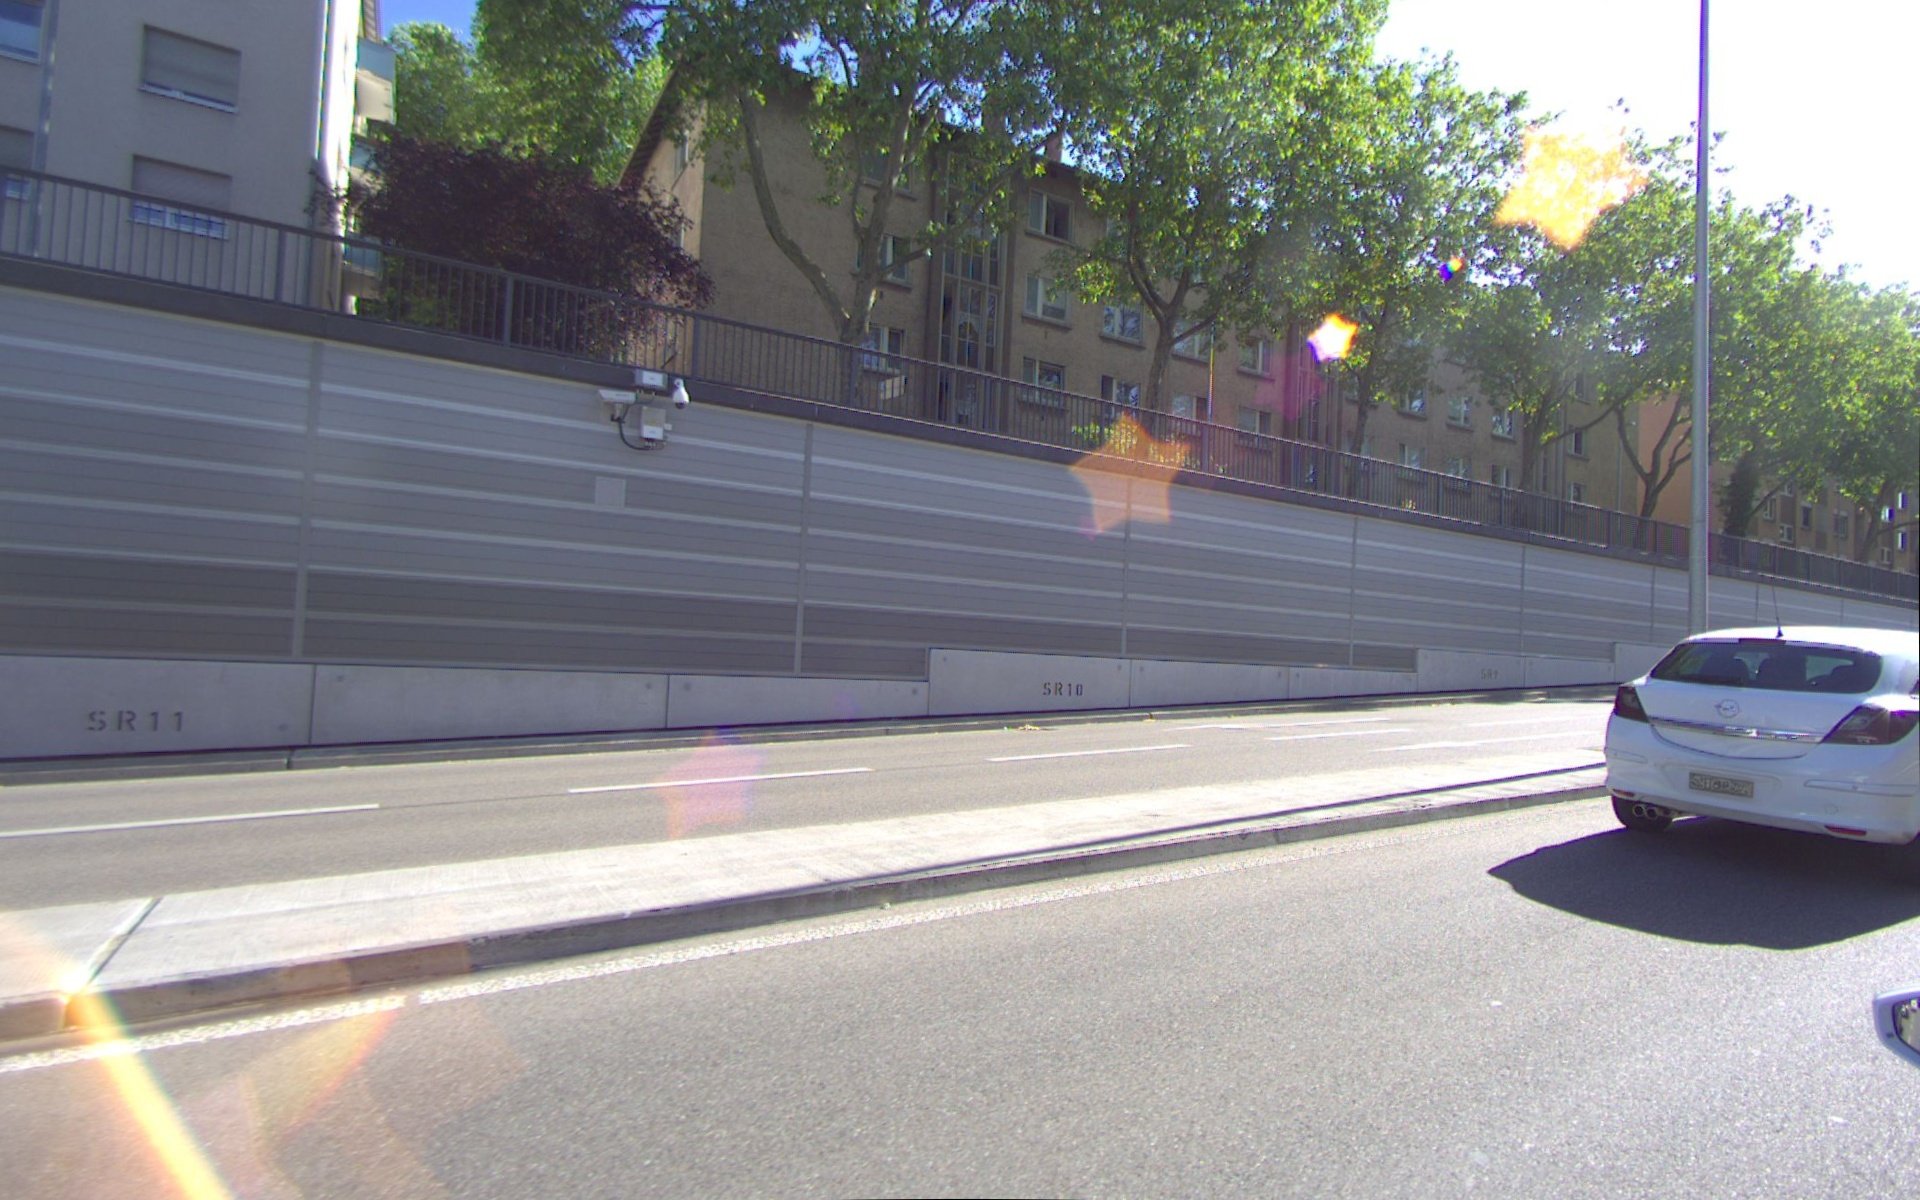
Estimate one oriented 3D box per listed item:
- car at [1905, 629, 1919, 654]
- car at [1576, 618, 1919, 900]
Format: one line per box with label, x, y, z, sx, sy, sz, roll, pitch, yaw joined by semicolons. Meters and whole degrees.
car;58.548;2.565;60.000;4.124;1.407;1.984;4;-1;-30
car;6.083;0.895;6.851;3.807;1.422;1.611;2;-1;-31
